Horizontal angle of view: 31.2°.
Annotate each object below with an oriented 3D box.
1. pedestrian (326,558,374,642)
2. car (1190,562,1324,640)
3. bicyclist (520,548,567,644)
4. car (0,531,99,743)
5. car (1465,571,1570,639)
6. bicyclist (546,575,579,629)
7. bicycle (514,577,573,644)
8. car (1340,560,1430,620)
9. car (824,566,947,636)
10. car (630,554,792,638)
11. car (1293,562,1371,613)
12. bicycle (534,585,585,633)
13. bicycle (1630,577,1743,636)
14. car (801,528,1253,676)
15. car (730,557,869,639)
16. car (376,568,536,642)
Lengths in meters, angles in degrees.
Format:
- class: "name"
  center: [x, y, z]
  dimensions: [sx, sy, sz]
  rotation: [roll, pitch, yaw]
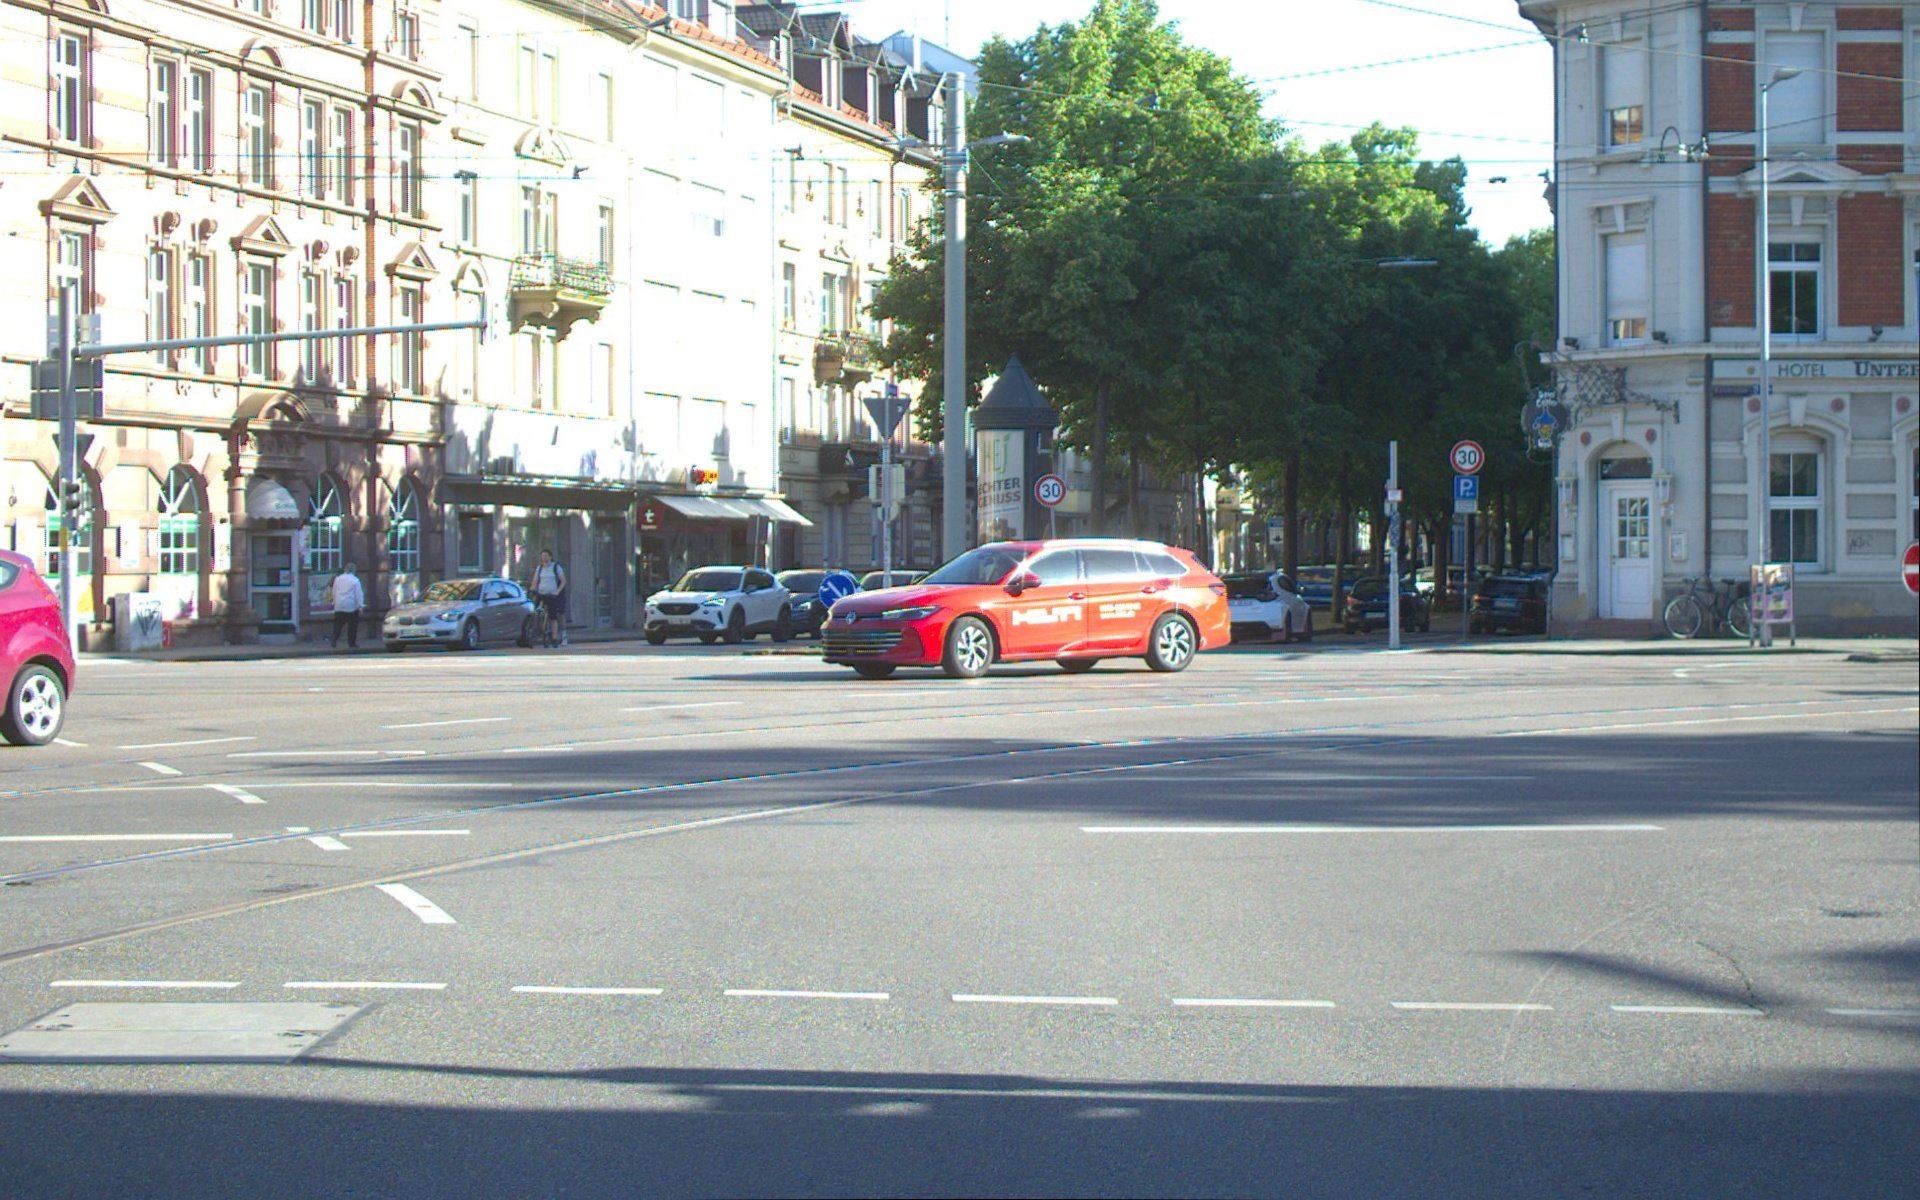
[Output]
- class: "pedestrian"
  center: [-11.964, -0.009, 67.414]
  dimensions: [0.568, 1.636, 0.792]
  rotation: [1, 0, 23]
- class: "car"
  center: [6.021, -0.001, 69.328]
  dimensions: [1.894, 1.449, 4.005]
  rotation: [0, 2, 17]
- class: "bicyclist"
  center: [-7.867, -0.087, 65.015]
  dimensions: [0.565, 1.797, 0.913]
  rotation: [1, 0, 15]
- class: "car"
  center: [-7.591, 0.261, 22.701]
  dimensions: [1.593, 1.421, 3.877]
  rotation: [1, 2, 26]
- class: "car"
  center: [13.400, 0.104, 82.472]
  dimensions: [1.758, 1.550, 3.996]
  rotation: [1, 1, 20]
- class: "bicyclist"
  center: [-7.790, 0.040, 67.424]
  dimensions: [0.473, 1.036, 0.537]
  rotation: [1, 0, 15]
- class: "bicycle"
  center: [-7.864, 0.194, 65.010]
  dimensions: [0.565, 1.250, 1.556]
  rotation: [1, 1, 14]
- class: "car"
  center: [10.431, -0.269, 84.228]
  dimensions: [1.826, 1.398, 3.998]
  rotation: [0, 1, 12]
- class: "car"
  center: [-1.686, 0.007, 79.558]
  dimensions: [1.804, 1.570, 3.888]
  rotation: [1, 1, 15]
- class: "car"
  center: [-4.834, -0.089, 67.277]
  dimensions: [1.804, 1.579, 4.156]
  rotation: [1, 1, 17]
- class: "car"
  center: [12.632, -0.424, 116.608]
  dimensions: [1.995, 1.678, 3.997]
  rotation: [1, 1, 15]
- class: "bicycle"
  center: [-7.831, 0.172, 67.262]
  dimensions: [0.473, 0.919, 1.451]
  rotation: [1, 1, 14]
- class: "bicycle"
  center: [12.071, 0.104, 57.117]
  dimensions: [1.804, 0.959, 0.603]
  rotation: [1, 0, 14]
- class: "car"
  center: [0.776, -0.026, 37.403]
  dimensions: [4.859, 1.464, 1.803]
  rotation: [-1, 3, -37]
- class: "car"
  center: [-3.406, -0.062, 73.722]
  dimensions: [1.826, 1.679, 3.872]
  rotation: [1, 1, 16]
- class: "car"
  center: [-9.787, 0.079, 67.030]
  dimensions: [1.661, 1.369, 3.889]
  rotation: [1, 1, 15]
